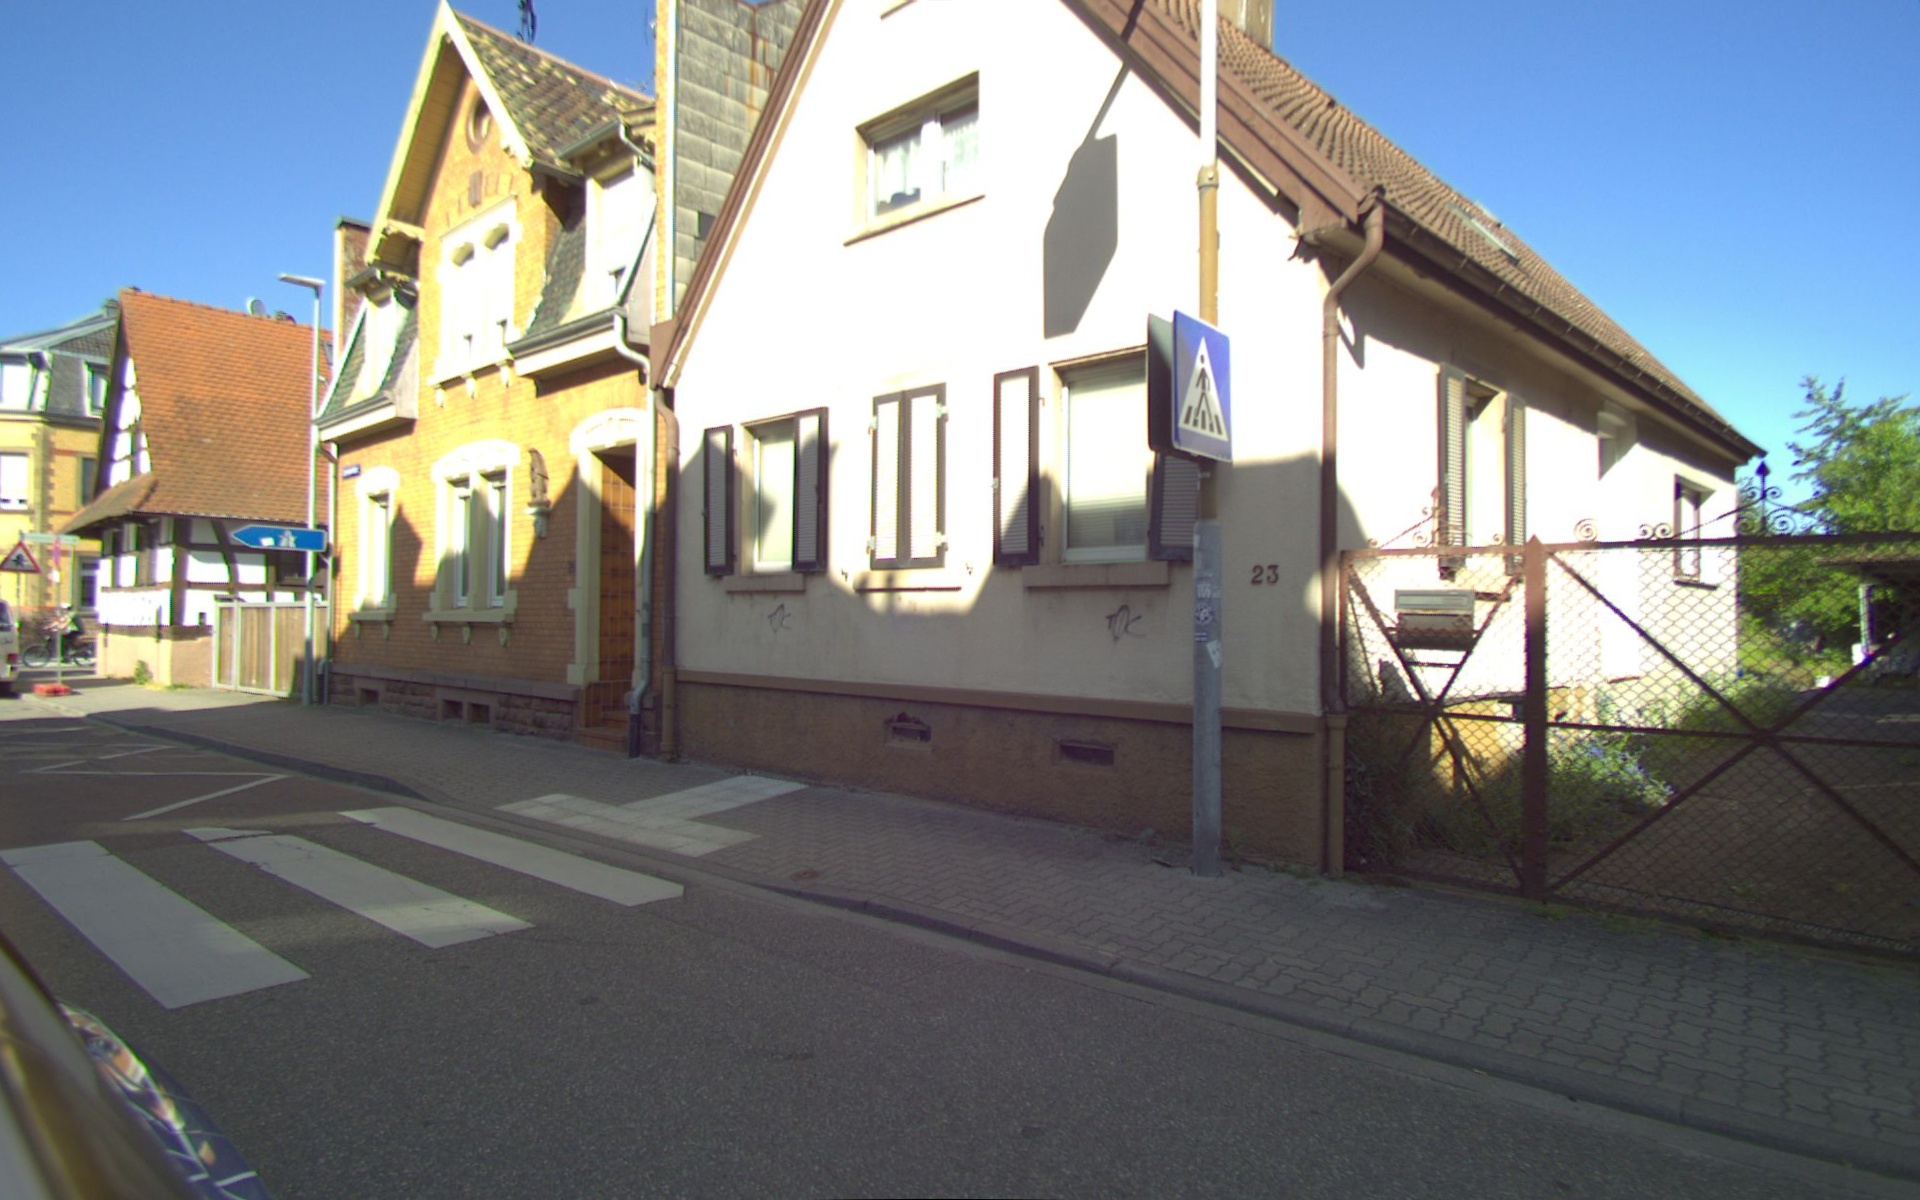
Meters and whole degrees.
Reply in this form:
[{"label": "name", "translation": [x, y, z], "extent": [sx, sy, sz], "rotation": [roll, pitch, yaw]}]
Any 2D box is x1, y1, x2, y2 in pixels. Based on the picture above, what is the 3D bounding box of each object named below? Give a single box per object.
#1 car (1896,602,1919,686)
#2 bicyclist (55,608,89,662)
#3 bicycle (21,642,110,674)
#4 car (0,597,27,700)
[{"label": "car", "translation": [19.960, 0.820, 19.997], "extent": [3.938, 1.509, 1.713], "rotation": [-2, 1, -41]}, {"label": "bicyclist", "translation": [-26.206, 1.011, 29.855], "extent": [0.610, 1.545, 0.646], "rotation": [0, 1, 40]}, {"label": "bicycle", "translation": [-26.277, 1.696, 29.767], "extent": [0.624, 0.785, 1.887], "rotation": [0, 1, 40]}, {"label": "car", "translation": [-19.939, 0.880, 19.415], "extent": [4.822, 1.895, 1.860], "rotation": [0, -3, 34]}]
